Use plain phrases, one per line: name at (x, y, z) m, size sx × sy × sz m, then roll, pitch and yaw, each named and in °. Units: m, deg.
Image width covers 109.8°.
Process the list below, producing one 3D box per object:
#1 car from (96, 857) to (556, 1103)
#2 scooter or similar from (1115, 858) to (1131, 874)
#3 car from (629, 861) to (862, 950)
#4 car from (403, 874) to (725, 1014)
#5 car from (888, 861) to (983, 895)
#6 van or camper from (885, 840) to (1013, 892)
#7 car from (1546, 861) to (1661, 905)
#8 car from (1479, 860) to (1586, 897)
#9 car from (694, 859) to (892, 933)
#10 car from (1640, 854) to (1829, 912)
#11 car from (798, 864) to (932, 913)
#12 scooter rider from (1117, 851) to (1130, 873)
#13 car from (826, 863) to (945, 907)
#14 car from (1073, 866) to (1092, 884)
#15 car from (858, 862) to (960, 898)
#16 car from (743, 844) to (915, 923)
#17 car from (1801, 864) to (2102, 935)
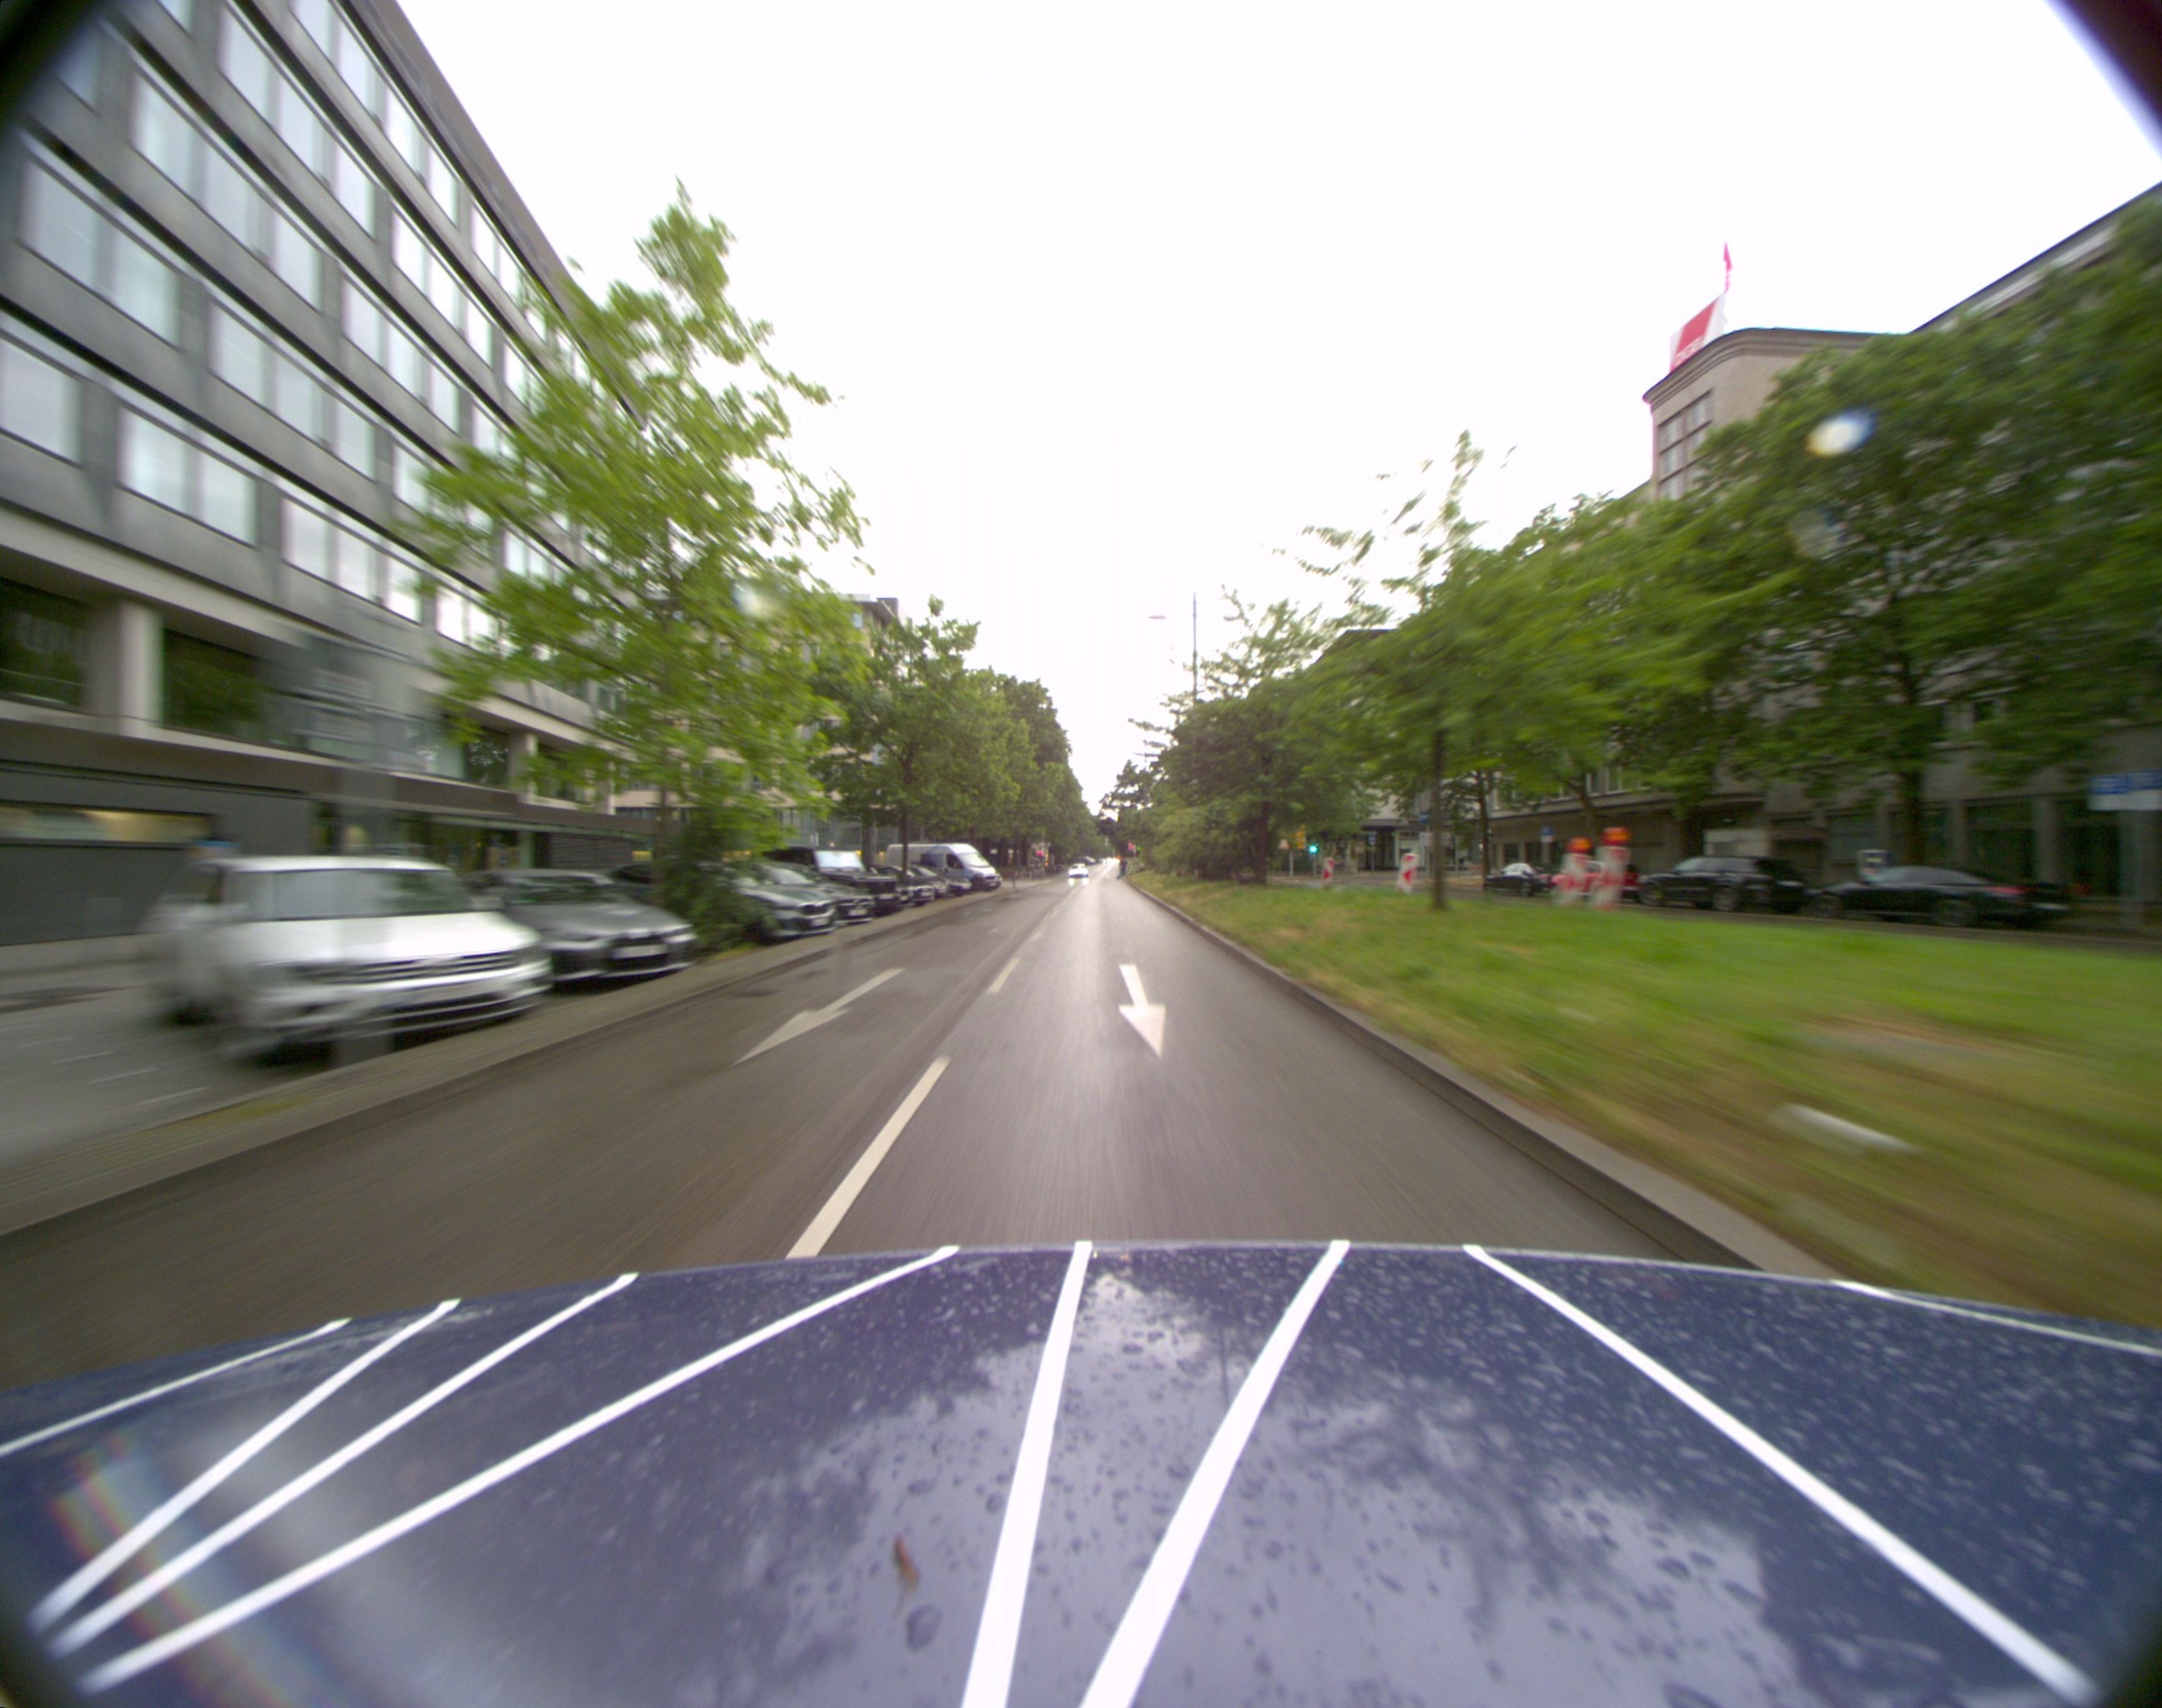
car at (-7.236, 0.887, 7.166) m, size 4.791 × 1.640 × 1.920 m, roll -1°, pitch 0°, yaw 31°
scooter or similar at (3.670, 1.018, 66.432) m, size 0.980 × 1.347 × 1.873 m, roll 0°, pitch 0°, yaw 16°
car at (-6.707, 0.934, 15.141) m, size 4.346 × 1.529 × 1.920 m, roll -1°, pitch 0°, yaw 28°
car at (-7.131, 1.032, 10.333) m, size 4.710 × 1.465 × 1.920 m, roll -1°, pitch 0°, yaw 33°
car at (-6.597, 1.066, 34.256) m, size 4.051 × 1.416 × 1.712 m, roll -1°, pitch 0°, yaw 30°
van or camper at (-6.660, 0.604, 37.920) m, size 6.249 × 2.433 × 2.320 m, roll -1°, pitch 0°, yaw 31°
car at (19.305, 1.029, 28.275) m, size 1.690 × 1.493 × 3.692 m, roll 0°, pitch 0°, yaw -2°
car at (19.340, 1.011, 32.832) m, size 1.790 × 1.478 × 4.574 m, roll 0°, pitch 0°, yaw -2°
car at (-6.813, 0.926, 17.927) m, size 4.380 × 1.529 × 1.920 m, roll -1°, pitch 0°, yaw 28°
car at (19.745, 0.817, 23.278) m, size 1.867 × 1.612 × 4.467 m, roll 0°, pitch 0°, yaw -2°
car at (-6.853, 1.060, 24.033) m, size 4.051 × 1.416 × 1.740 m, roll -1°, pitch 0°, yaw 30°
scooter rider at (3.715, 0.729, 66.529) m, size 0.980 × 1.892 × 1.023 m, roll 0°, pitch 0°, yaw 14°
car at (-6.943, 1.061, 26.900) m, size 4.003 × 1.416 × 1.712 m, roll -1°, pitch 0°, yaw 30°
car at (0.108, 2.118, 79.099) m, size 1.790 × 1.736 × 4.574 m, roll 0°, pitch 0°, yaw -2°
car at (-7.232, 1.063, 31.842) m, size 4.051 × 1.416 × 1.712 m, roll -1°, pitch 0°, yaw 30°
car at (-6.928, 0.760, 20.810) m, size 4.506 × 1.981 × 1.925 m, roll -1°, pitch 0°, yaw 30°
car at (20.267, 0.982, 18.084) m, size 1.867 × 1.421 × 4.565 m, roll 0°, pitch 0°, yaw -2°
